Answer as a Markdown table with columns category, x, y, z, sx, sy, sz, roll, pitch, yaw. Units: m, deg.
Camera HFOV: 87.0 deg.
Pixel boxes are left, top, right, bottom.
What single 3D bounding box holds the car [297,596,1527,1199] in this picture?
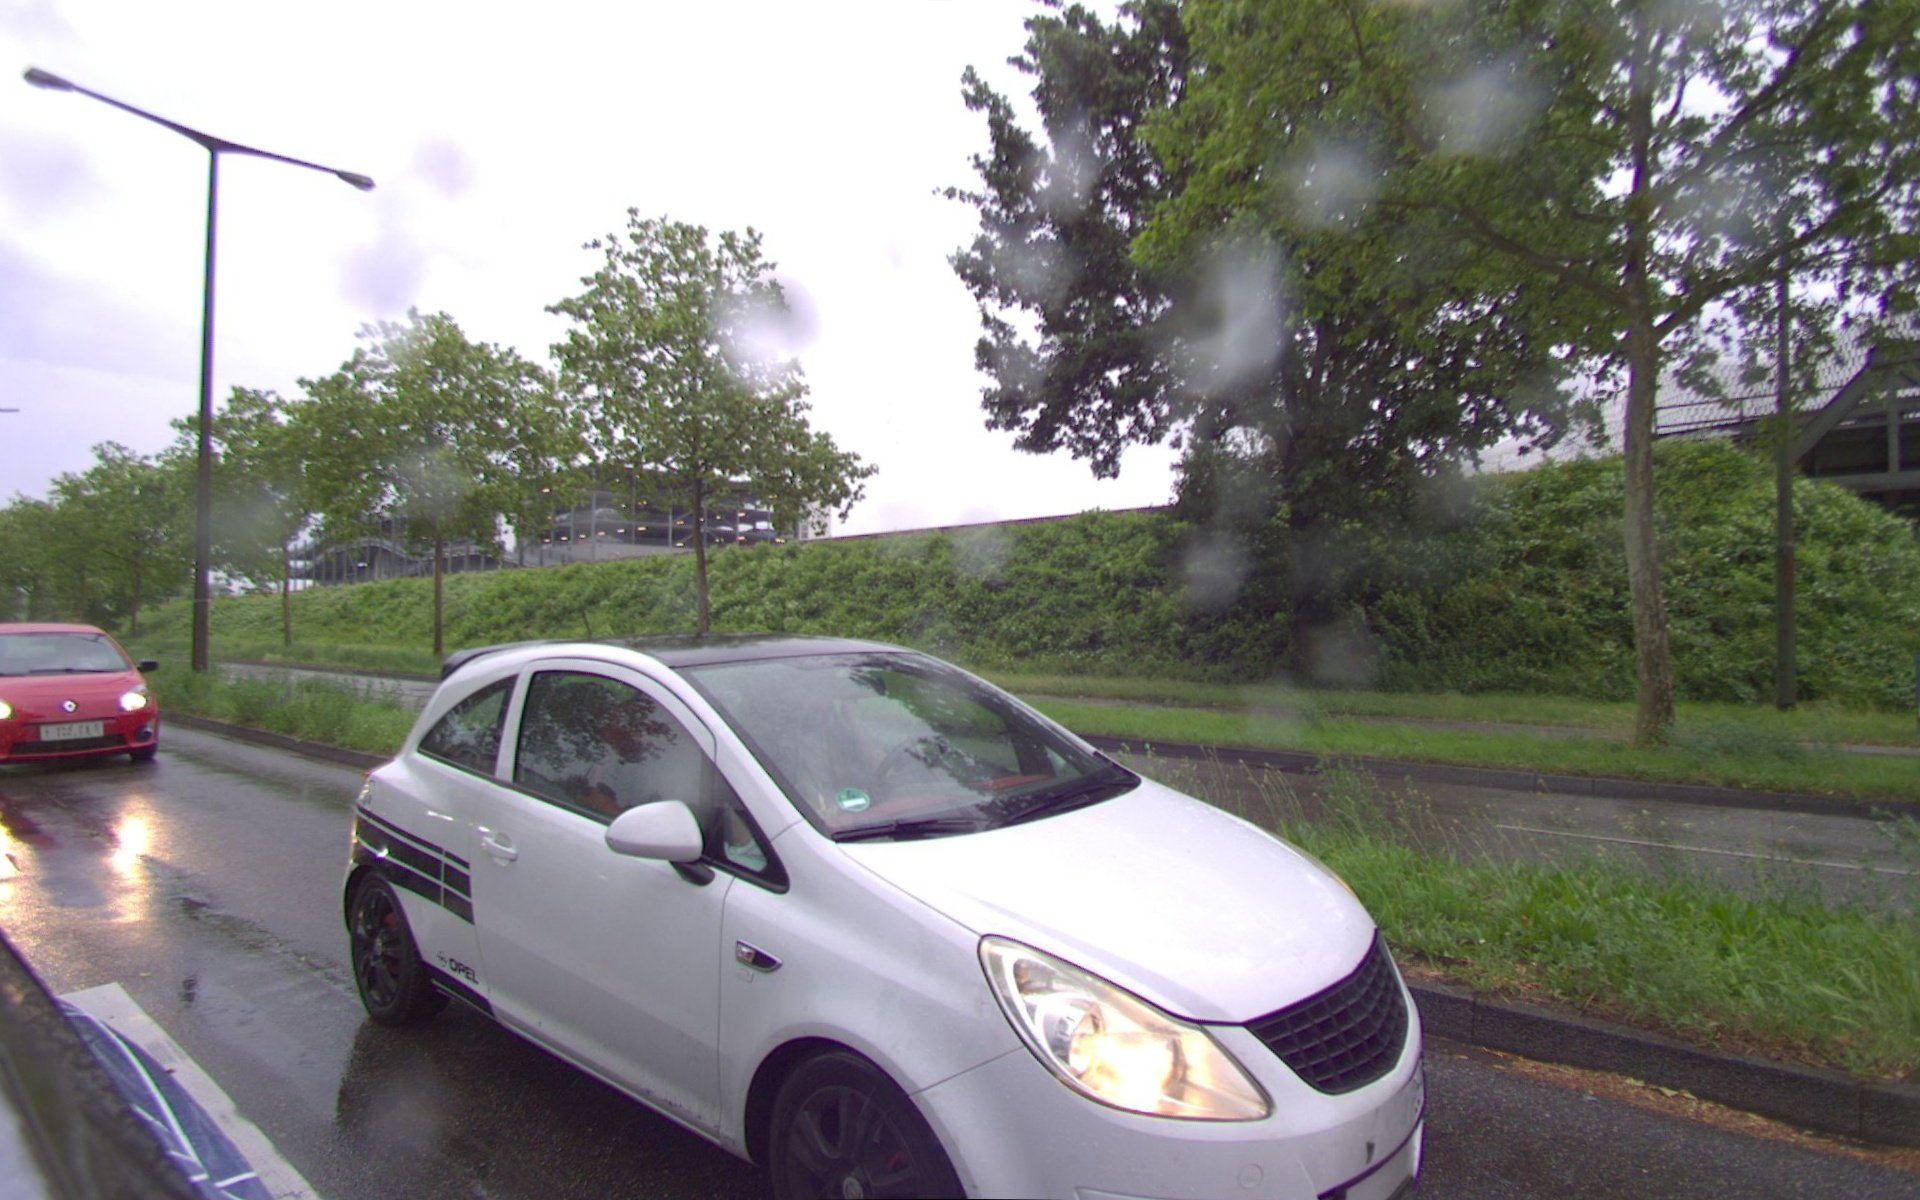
| category | x | y | z | sx | sy | sz | roll | pitch | yaw |
| --- | --- | --- | --- | --- | --- | --- | --- | --- | --- |
| car | -0.570 | 0.737 | 3.347 | 4.008 | 1.387 | 1.661 | -2 | -1 | 41 |

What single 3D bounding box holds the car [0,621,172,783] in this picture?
| category | x | y | z | sx | sy | sz | roll | pitch | yaw |
| --- | --- | --- | --- | --- | --- | --- | --- | --- | --- |
| car | -10.214 | 1.010 | 11.095 | 4.089 | 1.476 | 1.702 | -2 | -1 | 40 |
